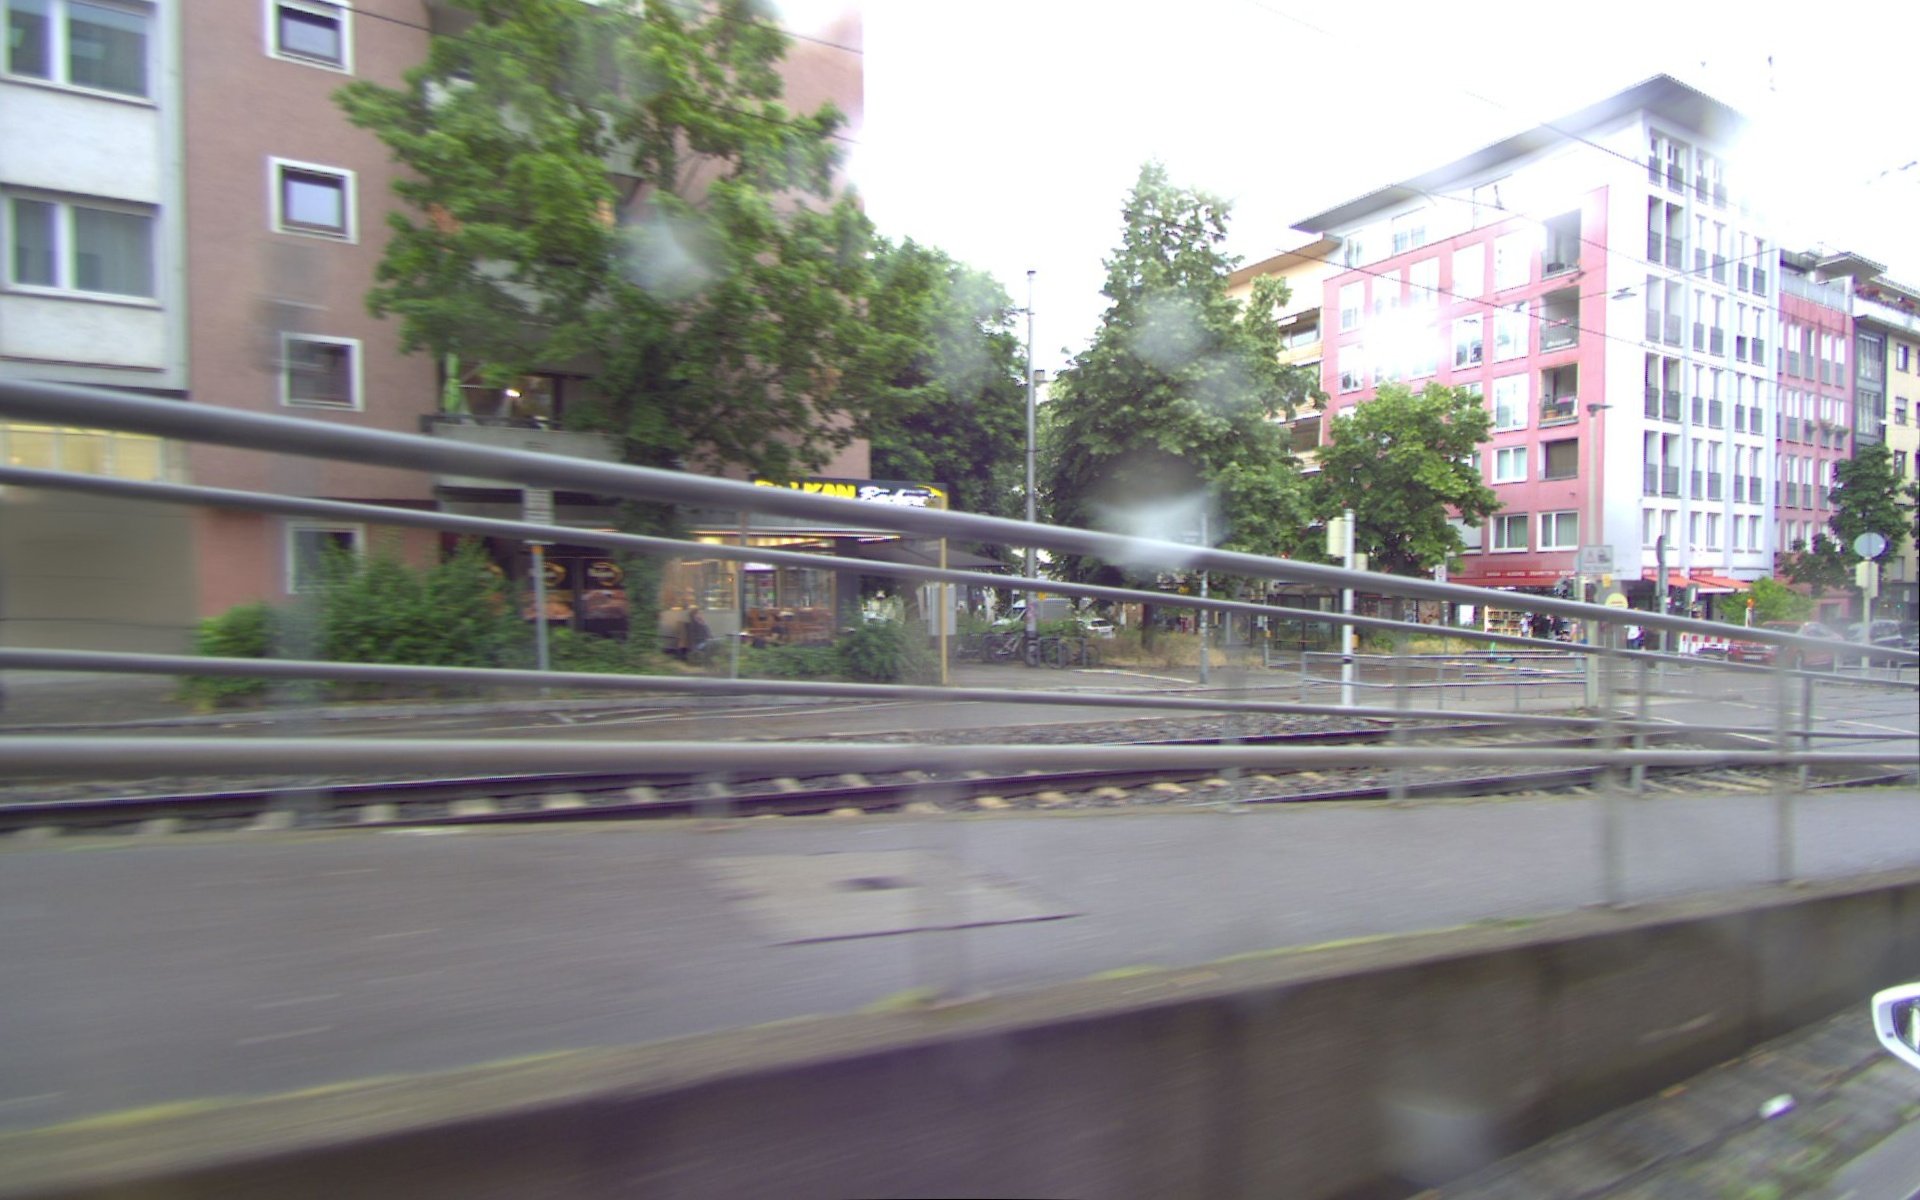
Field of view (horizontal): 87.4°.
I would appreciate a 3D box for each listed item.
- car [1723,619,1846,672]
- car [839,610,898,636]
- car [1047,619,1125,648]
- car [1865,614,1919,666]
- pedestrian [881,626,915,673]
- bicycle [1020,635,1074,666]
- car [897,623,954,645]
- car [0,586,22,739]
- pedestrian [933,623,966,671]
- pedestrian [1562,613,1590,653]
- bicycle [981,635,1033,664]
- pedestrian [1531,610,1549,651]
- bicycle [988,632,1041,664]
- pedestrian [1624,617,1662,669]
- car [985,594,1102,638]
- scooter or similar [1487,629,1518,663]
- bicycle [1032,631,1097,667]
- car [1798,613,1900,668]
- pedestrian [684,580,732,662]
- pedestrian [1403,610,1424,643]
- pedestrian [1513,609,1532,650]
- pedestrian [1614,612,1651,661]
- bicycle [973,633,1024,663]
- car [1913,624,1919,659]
[{"bbox_3d":[27.751,1.483,33.785,4.497,1.633,1.718,0,0,-29],"label":"car"},{"bbox_3d":[-7.505,1.893,82.449,4.393,2.056,2.083,1,-1,-29],"label":"car"},{"bbox_3d":[6.274,1.666,50.332,1.975,1.392,3.971,1,-1,-28],"label":"car"},{"bbox_3d":[36.563,1.489,38.438,4.333,1.883,1.792,1,-1,-33],"label":"car"},{"bbox_3d":[-1.623,1.275,26.184,0.665,1.193,0.607,0,-1,28],"label":"pedestrian"},{"bbox_3d":[2.475,1.425,28.415,1.627,0.827,0.337,2,-1,-31],"label":"bicycle"},{"bbox_3d":[-2.315,2.227,66.890,2.072,1.392,4.416,1,-1,-28],"label":"car"},{"bbox_3d":[-12.105,0.625,9.564,4.319,1.645,1.631,2,-1,-30],"label":"car"},{"bbox_3d":[-0.273,1.171,25.315,0.600,1.193,0.674,1,-1,-25],"label":"pedestrian"},{"bbox_3d":[23.772,1.268,38.767,0.649,1.481,0.635,1,1,-32],"label":"pedestrian"},{"bbox_3d":[1.434,1.492,30.320,1.626,0.854,0.336,1,-1,-28],"label":"bicycle"},{"bbox_3d":[23.675,1.231,41.002,0.535,1.653,0.574,2,1,24],"label":"pedestrian"},{"bbox_3d":[1.625,1.438,29.891,1.626,0.923,0.338,1,-1,-28],"label":"bicycle"},{"bbox_3d":[22.658,1.420,33.319,0.791,1.653,0.882,-1,1,15],"label":"pedestrian"},{"bbox_3d":[5.154,1.029,61.455,7.011,2.567,2.405,1,-1,-29],"label":"car"},{"bbox_3d":[19.588,1.645,36.257,1.197,1.207,0.387,1,-1,-29],"label":"scooter or similar"},{"bbox_3d":[2.864,1.338,27.508,1.851,0.972,0.477,2,-1,-31],"label":"bicycle"},{"bbox_3d":[32.332,1.441,36.505,4.274,1.883,1.697,1,-1,-33],"label":"car"},{"bbox_3d":[-5.114,0.422,20.366,0.808,1.617,0.556,1,-1,-29],"label":"pedestrian"},{"bbox_3d":[19.919,1.174,44.109,0.643,1.424,0.556,1,1,-32],"label":"pedestrian"},{"bbox_3d":[23.262,1.200,41.548,0.570,1.653,0.609,2,1,34],"label":"pedestrian"},{"bbox_3d":[24.667,1.335,36.850,0.977,1.720,0.813,1,1,-38],"label":"pedestrian"},{"bbox_3d":[1.182,1.468,30.705,1.626,0.915,0.338,1,-1,-28],"label":"bicycle"},{"bbox_3d":[41.366,1.726,41.622,4.273,1.455,1.830,1,-1,-34],"label":"car"}]
